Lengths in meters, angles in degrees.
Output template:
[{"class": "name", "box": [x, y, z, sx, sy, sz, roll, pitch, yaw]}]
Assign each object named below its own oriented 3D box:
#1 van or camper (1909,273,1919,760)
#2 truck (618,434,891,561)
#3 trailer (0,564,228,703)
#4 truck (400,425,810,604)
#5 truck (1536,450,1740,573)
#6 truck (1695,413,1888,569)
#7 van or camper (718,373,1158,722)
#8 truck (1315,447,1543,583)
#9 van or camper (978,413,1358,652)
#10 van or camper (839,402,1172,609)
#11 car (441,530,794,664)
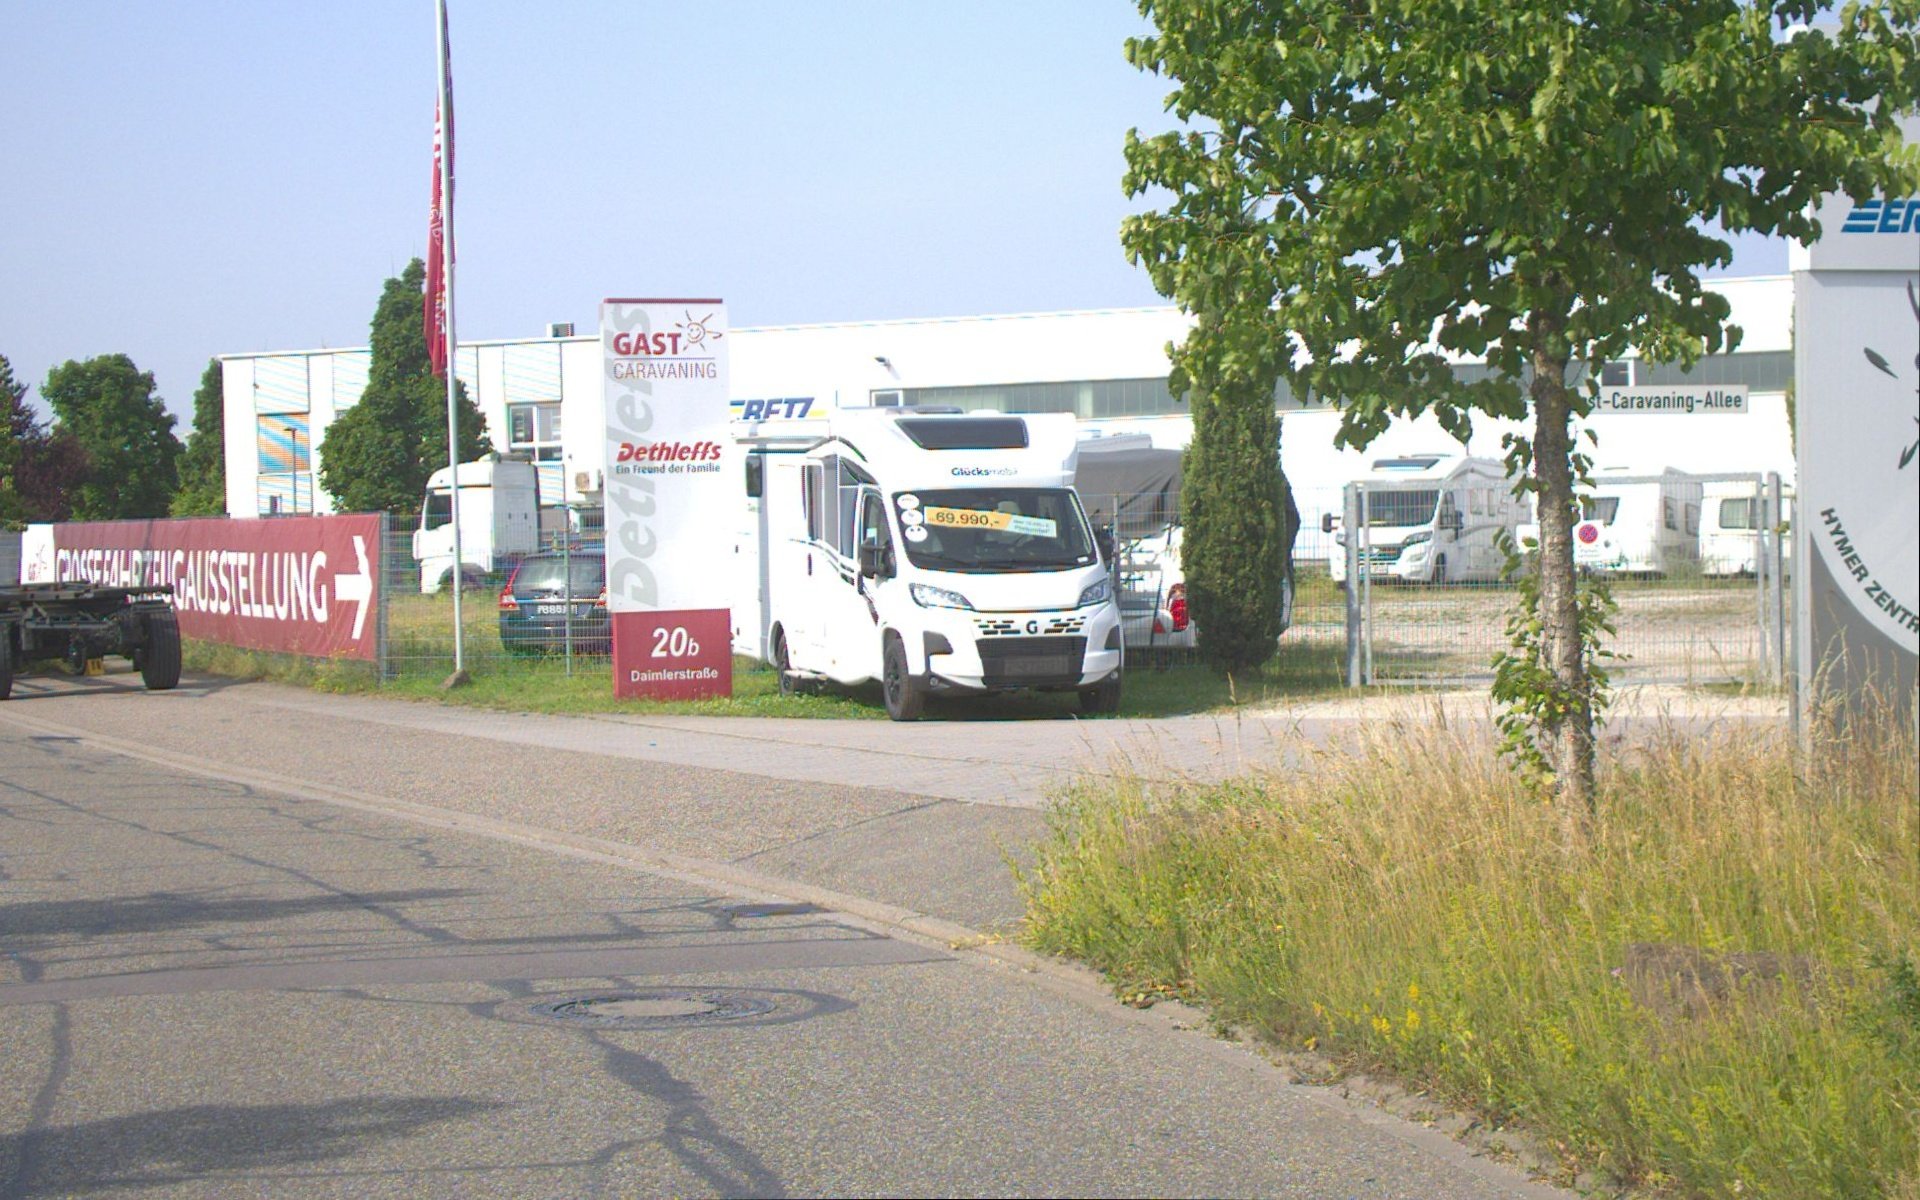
[{"class": "van or camper", "box": [7.345, -0.440, 16.687, 2.348, 2.838, 7.344, -1, 1, -10]}, {"class": "truck", "box": [-4.169, -2.173, 72.015, 2.453, 2.462, 7.993, -1, 2, 22]}, {"class": "trailer", "box": [-11.735, 0.333, 43.999, 2.623, 1.383, 9.456, -4, 3, -24]}, {"class": "truck", "box": [-8.331, -1.984, 80.516, 9.292, 3.958, 2.456, -1, 2, 19]}, {"class": "truck", "box": [13.485, -1.798, 67.928, 2.453, 2.257, 7.993, -1, 2, 22]}, {"class": "truck", "box": [16.234, -2.134, 66.762, 2.453, 2.816, 7.993, -1, 2, 22]}, {"class": "van or camper", "box": [-0.401, -0.542, 32.908, 2.330, 2.933, 6.973, -2, 2, -16]}, {"class": "truck", "box": [9.221, -1.697, 66.769, 2.453, 2.462, 7.993, -1, 2, 22]}, {"class": "van or camper", "box": [2.579, -0.852, 40.195, 2.486, 2.550, 6.619, 0, 2, 21]}, {"class": "van or camper", "box": [0.895, -1.584, 55.748, 2.801, 3.073, 7.962, -1, 2, 21]}, {"class": "car", "box": [-4.182, -0.060, 42.475, 2.170, 1.471, 3.992, -1, 2, 37]}]
